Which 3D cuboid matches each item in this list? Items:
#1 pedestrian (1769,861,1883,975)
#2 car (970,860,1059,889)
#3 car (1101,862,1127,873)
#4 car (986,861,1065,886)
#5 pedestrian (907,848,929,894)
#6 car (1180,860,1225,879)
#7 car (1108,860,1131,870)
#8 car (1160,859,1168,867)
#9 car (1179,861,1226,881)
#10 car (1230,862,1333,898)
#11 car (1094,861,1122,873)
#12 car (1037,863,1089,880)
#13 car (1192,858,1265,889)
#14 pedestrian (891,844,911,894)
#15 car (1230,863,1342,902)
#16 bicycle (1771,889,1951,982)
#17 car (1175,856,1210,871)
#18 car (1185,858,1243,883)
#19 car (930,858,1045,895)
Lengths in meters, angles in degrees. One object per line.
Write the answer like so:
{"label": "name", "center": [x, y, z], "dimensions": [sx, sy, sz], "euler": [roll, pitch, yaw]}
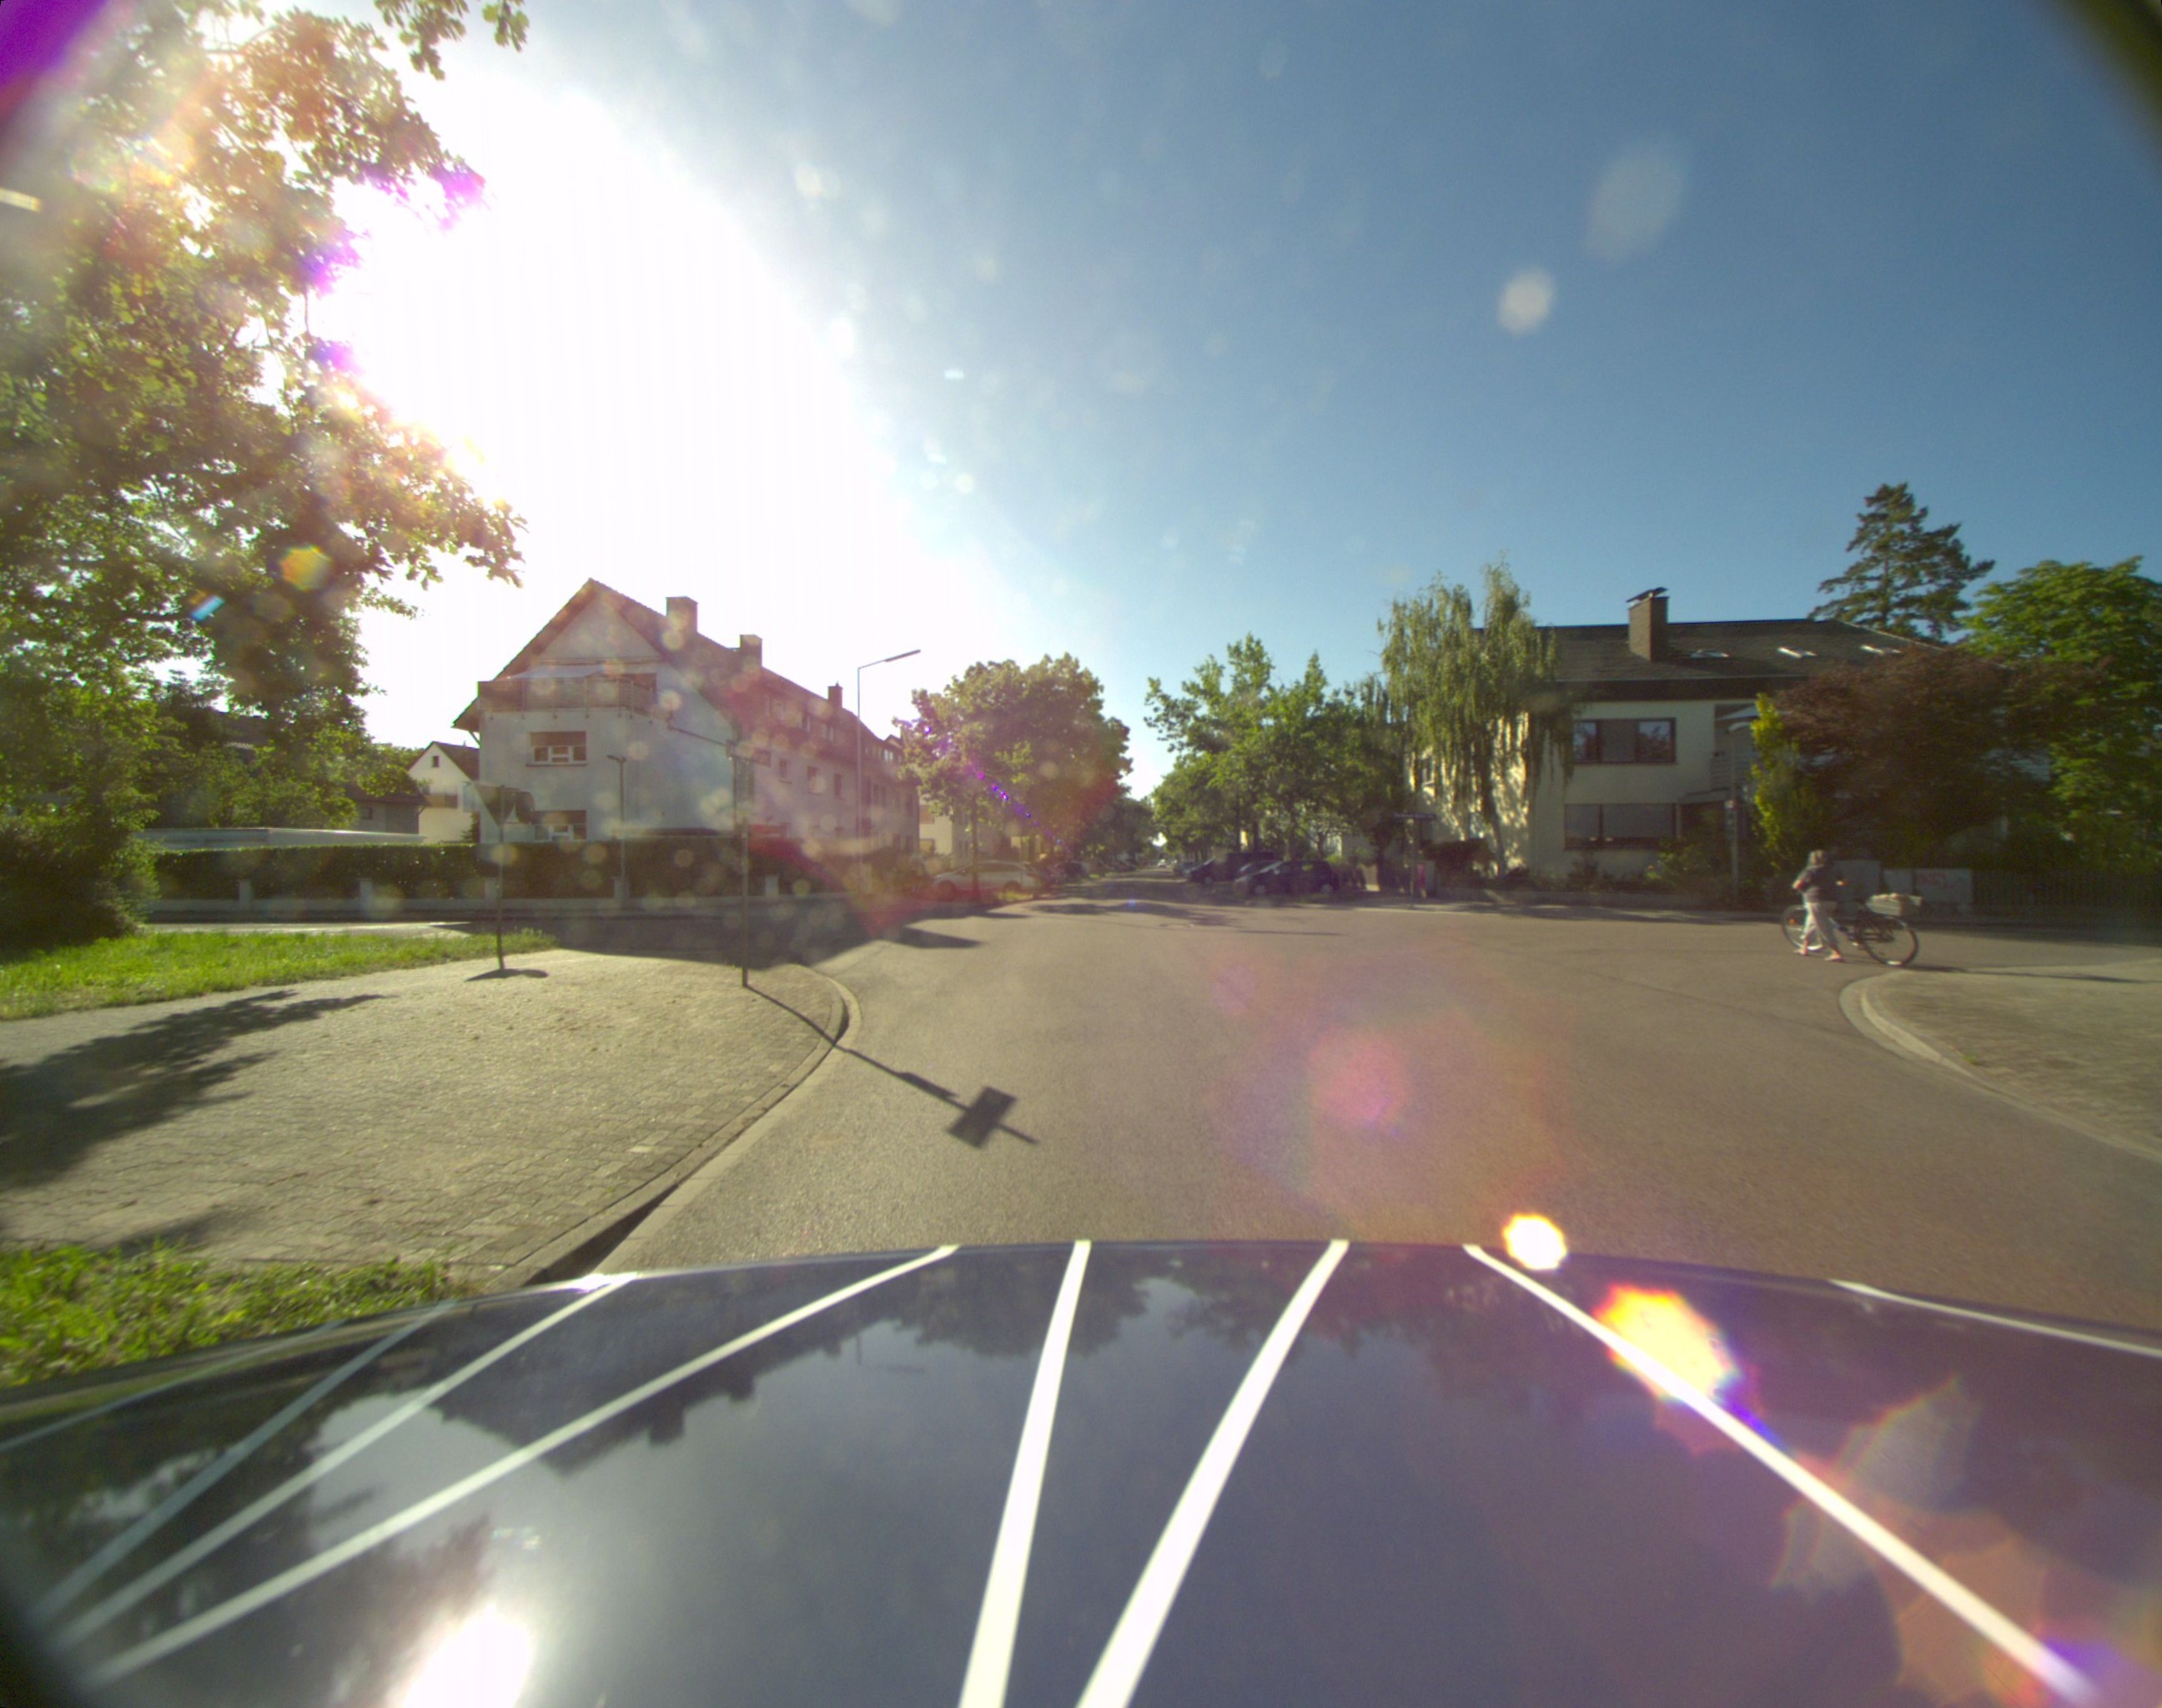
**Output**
{"label": "pedestrian", "center": [10.633, 0.885, 10.879], "dimensions": [0.728, 1.534, 0.867], "euler": [0, 2, -4]}
{"label": "car", "center": [-3.443, 1.061, 40.175], "dimensions": [4.512, 1.470, 1.941], "euler": [0, 0, 1]}
{"label": "car", "center": [5.245, 2.172, 121.810], "dimensions": [4.034, 1.767, 1.942], "euler": [0, 0, 5]}
{"label": "car", "center": [-3.239, 1.135, 45.220], "dimensions": [4.512, 1.470, 1.941], "euler": [0, 0, 1]}
{"label": "pedestrian", "center": [-6.562, 0.675, 30.639], "dimensions": [0.665, 1.855, 0.869], "euler": [0, 0, 1]}
{"label": "car", "center": [11.466, 1.424, 72.013], "dimensions": [4.034, 1.767, 1.942], "euler": [0, 0, 5]}
{"label": "car", "center": [6.762, 1.962, 133.316], "dimensions": [4.034, 1.767, 1.942], "euler": [0, 0, 5]}
{"label": "car", "center": [20.607, 2.228, 189.372], "dimensions": [1.939, 1.767, 4.041], "euler": [0, 0, 6]}
{"label": "car", "center": [10.791, 1.487, 67.587], "dimensions": [4.034, 1.767, 1.942], "euler": [0, 0, 5]}
{"label": "car", "center": [8.735, 1.122, 33.386], "dimensions": [4.036, 1.470, 1.941], "euler": [0, 0, 0]}
{"label": "car", "center": [4.059, 2.004, 114.366], "dimensions": [4.034, 1.767, 1.942], "euler": [0, 0, 5]}
{"label": "car", "center": [-1.525, 1.525, 66.314], "dimensions": [4.512, 1.470, 1.941], "euler": [0, 0, 1]}
{"label": "car", "center": [8.660, 1.156, 44.915], "dimensions": [4.034, 1.767, 1.942], "euler": [0, 0, 5]}
{"label": "pedestrian", "center": [-7.290, 0.589, 30.767], "dimensions": [0.610, 2.002, 0.834], "euler": [0, 0, 1]}
{"label": "car", "center": [8.060, 1.094, 30.169], "dimensions": [4.034, 1.470, 1.942], "euler": [0, 0, 5]}
{"label": "bicycle", "center": [11.015, 1.108, 10.845], "dimensions": [0.640, 1.081, 1.891], "euler": [0, 2, 2]}
{"label": "car", "center": [13.471, 1.127, 91.765], "dimensions": [4.034, 1.767, 1.942], "euler": [0, 0, 5]}
{"label": "car", "center": [9.619, 1.195, 55.222], "dimensions": [4.034, 1.767, 1.942], "euler": [0, 0, 5]}
{"label": "car", "center": [-3.810, 0.920, 31.511], "dimensions": [4.512, 1.470, 1.941], "euler": [0, 0, 1]}
